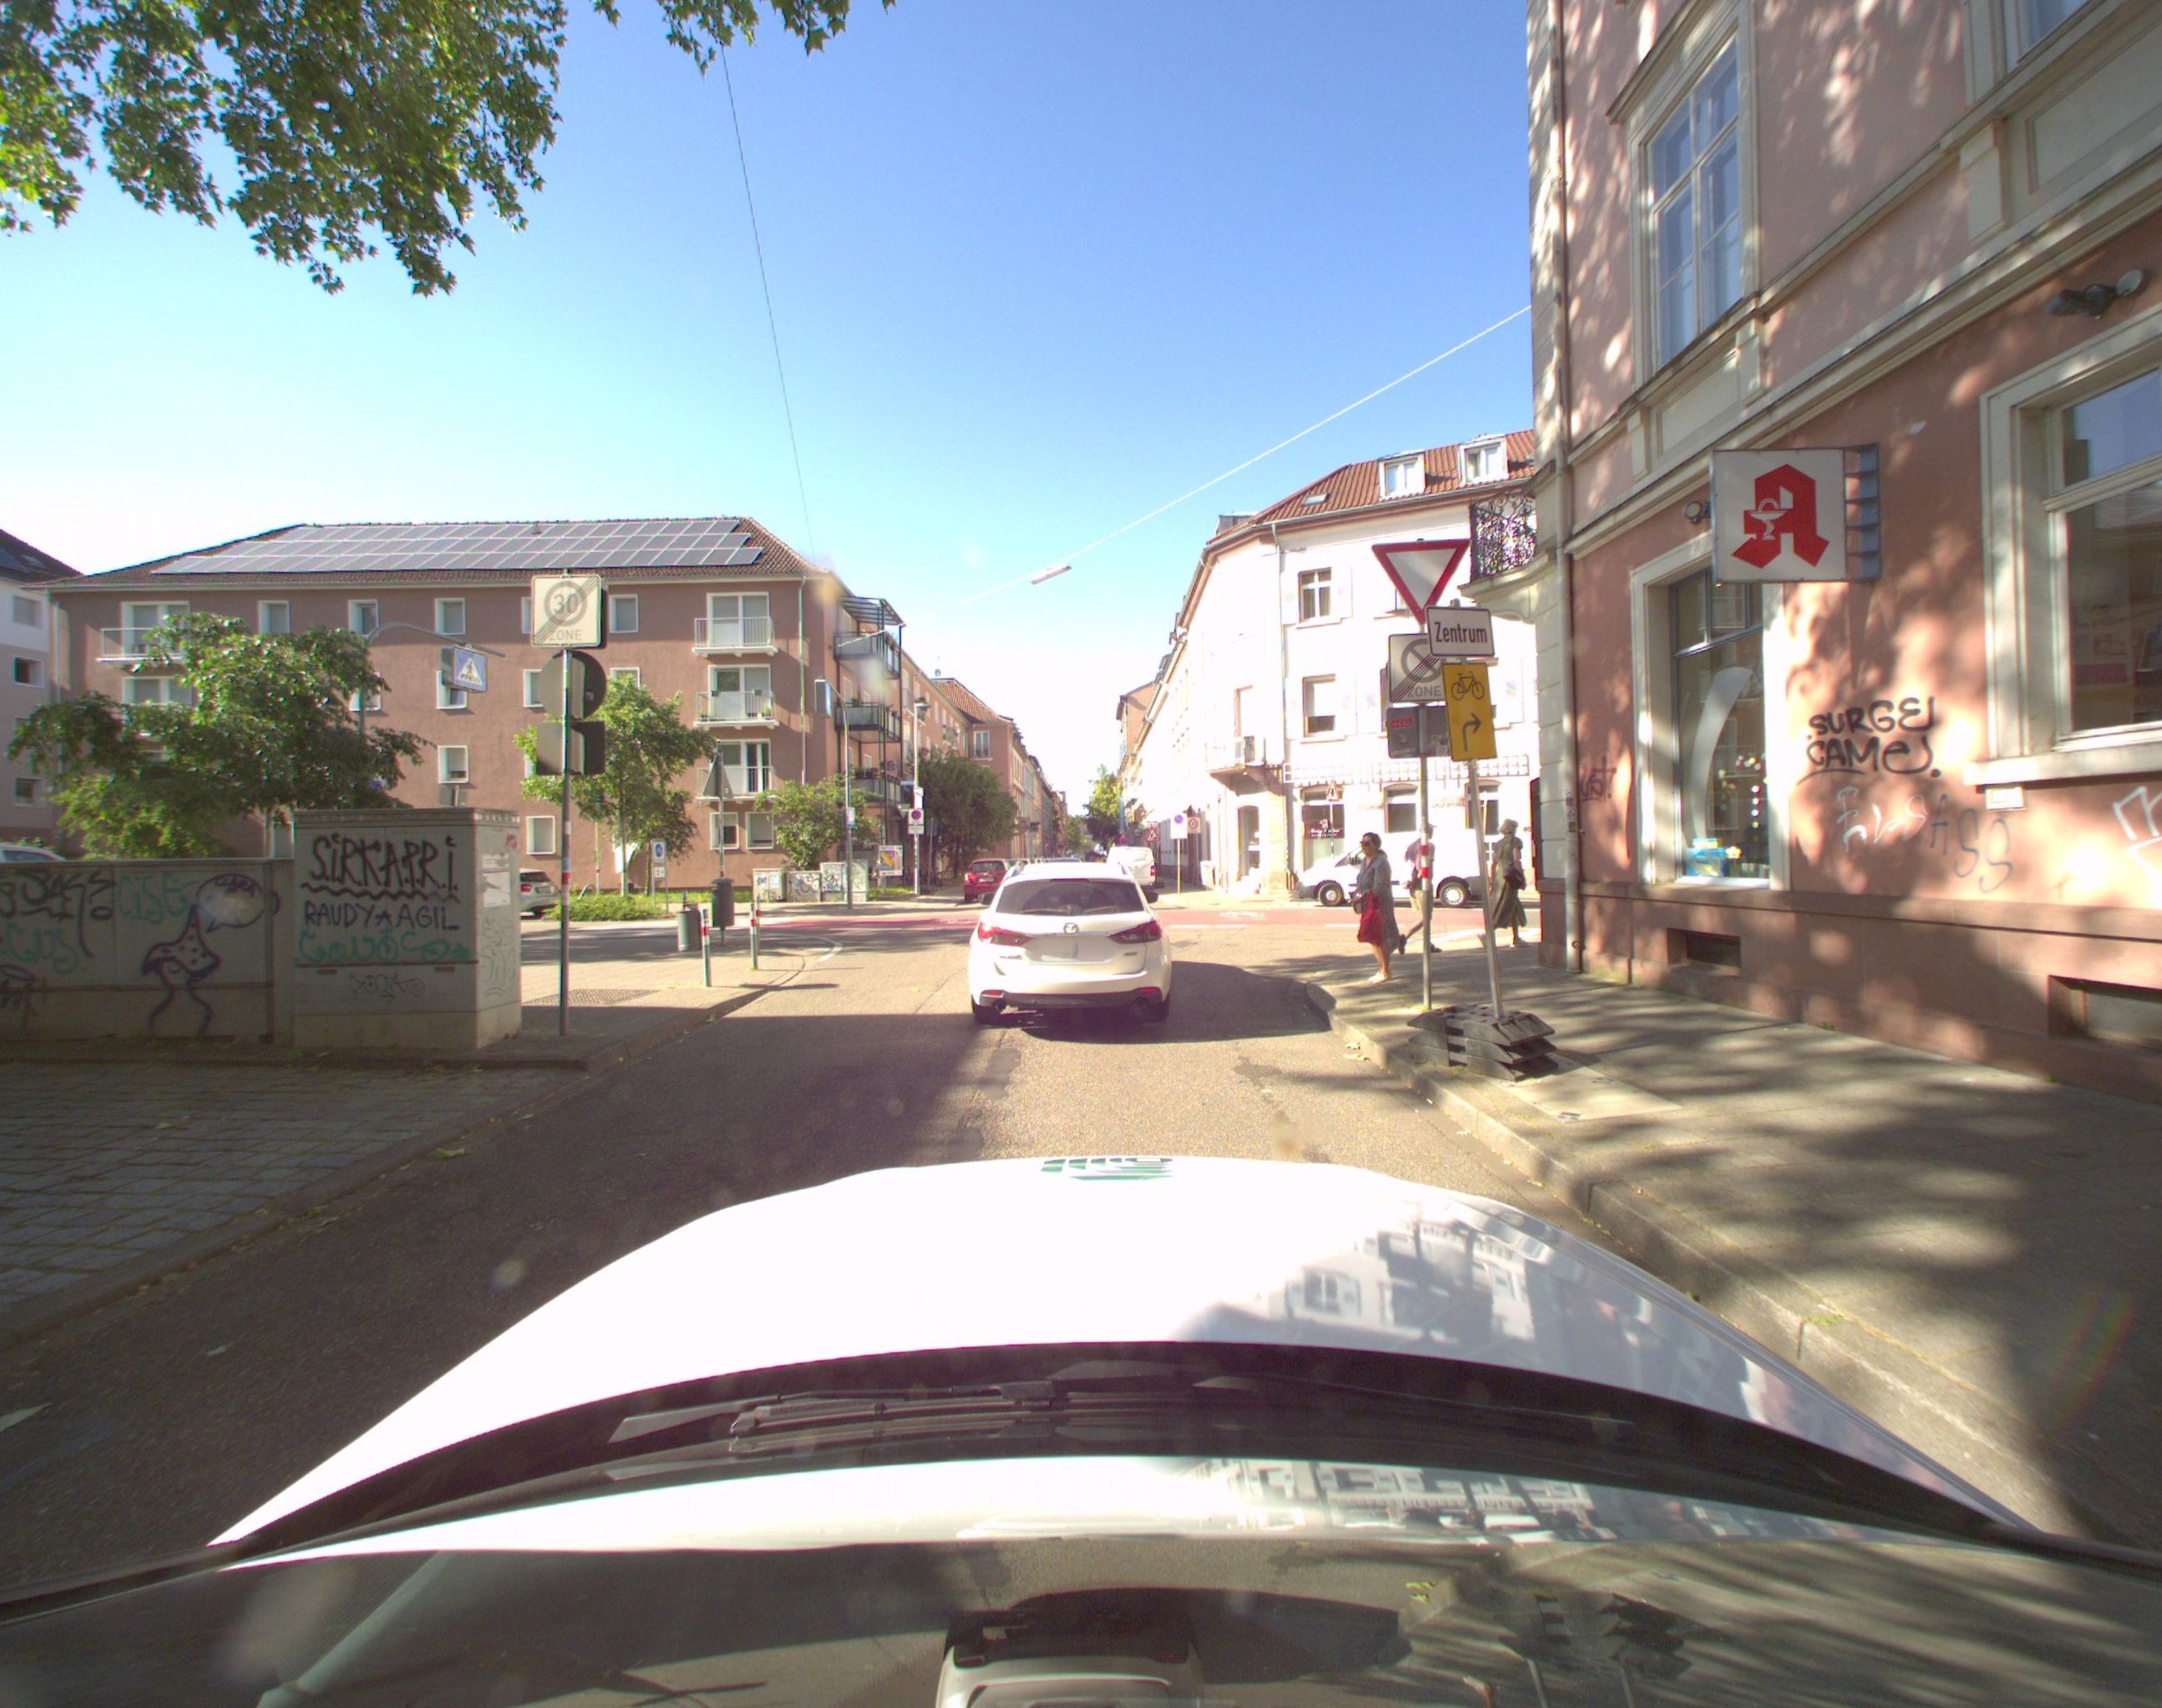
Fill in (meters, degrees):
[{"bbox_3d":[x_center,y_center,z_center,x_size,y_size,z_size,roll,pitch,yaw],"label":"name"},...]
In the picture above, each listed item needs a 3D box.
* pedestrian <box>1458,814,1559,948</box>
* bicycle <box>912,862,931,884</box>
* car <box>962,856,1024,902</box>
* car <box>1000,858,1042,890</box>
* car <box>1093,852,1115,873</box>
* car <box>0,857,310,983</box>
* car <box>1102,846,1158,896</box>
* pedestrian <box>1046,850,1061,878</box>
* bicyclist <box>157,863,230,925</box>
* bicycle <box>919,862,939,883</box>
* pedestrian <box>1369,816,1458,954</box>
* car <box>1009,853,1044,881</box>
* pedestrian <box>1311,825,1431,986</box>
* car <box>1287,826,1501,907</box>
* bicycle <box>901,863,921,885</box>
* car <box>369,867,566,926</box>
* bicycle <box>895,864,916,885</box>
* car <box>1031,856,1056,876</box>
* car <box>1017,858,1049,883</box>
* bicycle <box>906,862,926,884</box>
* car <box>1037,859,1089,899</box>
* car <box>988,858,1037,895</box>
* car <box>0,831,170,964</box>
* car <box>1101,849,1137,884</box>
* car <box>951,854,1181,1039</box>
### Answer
[{"bbox_3d":[5.705,0.367,10.916,0.833,1.667,0.626,-5,-4,1],"label":"pedestrian"},{"bbox_3d":[-8.047,0.968,41.078,1.201,1.071,0.255,-1,0,40],"label":"bicycle"},{"bbox_3d":[-3.142,0.860,29.626,1.678,1.500,3.808,-2,0,2],"label":"car"},{"bbox_3d":[-2.959,0.955,40.801,1.647,1.500,3.764,-1,0,2],"label":"car"},{"bbox_3d":[2.134,0.737,74.366,1.887,1.859,3.996,-1,0,2],"label":"car"},{"bbox_3d":[-14.737,0.877,12.466,1.747,1.612,4.303,-1,0,0],"label":"car"},{"bbox_3d":[1.906,0.635,33.178,1.889,1.859,5.011,1,0,-1],"label":"car"},{"bbox_3d":[-1.628,0.561,47.807,0.733,1.614,0.813,-2,-1,-11],"label":"pedestrian"},{"bbox_3d":[-22.801,1.018,20.936,1.038,1.519,0.739,-1,0,1],"label":"bicyclist"},{"bbox_3d":[-7.681,0.941,41.205,1.204,1.071,0.255,-1,0,40],"label":"bicycle"},{"bbox_3d":[4.527,0.418,11.150,0.747,1.764,0.831,-4,-2,1],"label":"pedestrian"},{"bbox_3d":[-3.153,0.741,47.473,1.647,1.500,3.764,-1,0,2],"label":"car"},{"bbox_3d":[3.118,0.537,8.842,0.841,1.573,0.846,-6,-1,1],"label":"pedestrian"},{"bbox_3d":[8.096,0.341,21.274,4.964,1.946,2.062,-1,0,23],"label":"car"},{"bbox_3d":[-8.483,0.979,40.576,1.201,1.072,0.268,-1,0,40],"label":"bicycle"},{"bbox_3d":[-17.051,1.165,22.774,4.128,1.454,1.746,-1,0,0],"label":"car"},{"bbox_3d":[-8.694,1.000,40.316,1.201,1.035,0.293,-1,0,40],"label":"bicycle"},{"bbox_3d":[-2.833,0.898,62.148,1.647,1.500,3.764,-1,0,2],"label":"car"},{"bbox_3d":[-3.018,1.021,51.544,1.647,1.500,3.764,-1,0,2],"label":"car"},{"bbox_3d":[-8.268,0.966,40.841,1.201,1.071,0.255,-1,0,40],"label":"bicycle"},{"bbox_3d":[-0.644,0.919,31.915,1.754,1.410,4.329,-1,0,2],"label":"car"},{"bbox_3d":[-2.959,0.937,35.698,1.647,1.500,4.081,-1,0,2],"label":"car"},{"bbox_3d":[-17.388,0.682,12.286,1.947,2.006,4.742,-1,-2,-1],"label":"car"},{"bbox_3d":[2.123,0.665,46.217,1.887,1.859,3.996,-1,0,2],"label":"car"},{"bbox_3d":[-0.067,0.754,8.567,1.824,1.457,3.963,-1,0,1],"label":"car"}]
